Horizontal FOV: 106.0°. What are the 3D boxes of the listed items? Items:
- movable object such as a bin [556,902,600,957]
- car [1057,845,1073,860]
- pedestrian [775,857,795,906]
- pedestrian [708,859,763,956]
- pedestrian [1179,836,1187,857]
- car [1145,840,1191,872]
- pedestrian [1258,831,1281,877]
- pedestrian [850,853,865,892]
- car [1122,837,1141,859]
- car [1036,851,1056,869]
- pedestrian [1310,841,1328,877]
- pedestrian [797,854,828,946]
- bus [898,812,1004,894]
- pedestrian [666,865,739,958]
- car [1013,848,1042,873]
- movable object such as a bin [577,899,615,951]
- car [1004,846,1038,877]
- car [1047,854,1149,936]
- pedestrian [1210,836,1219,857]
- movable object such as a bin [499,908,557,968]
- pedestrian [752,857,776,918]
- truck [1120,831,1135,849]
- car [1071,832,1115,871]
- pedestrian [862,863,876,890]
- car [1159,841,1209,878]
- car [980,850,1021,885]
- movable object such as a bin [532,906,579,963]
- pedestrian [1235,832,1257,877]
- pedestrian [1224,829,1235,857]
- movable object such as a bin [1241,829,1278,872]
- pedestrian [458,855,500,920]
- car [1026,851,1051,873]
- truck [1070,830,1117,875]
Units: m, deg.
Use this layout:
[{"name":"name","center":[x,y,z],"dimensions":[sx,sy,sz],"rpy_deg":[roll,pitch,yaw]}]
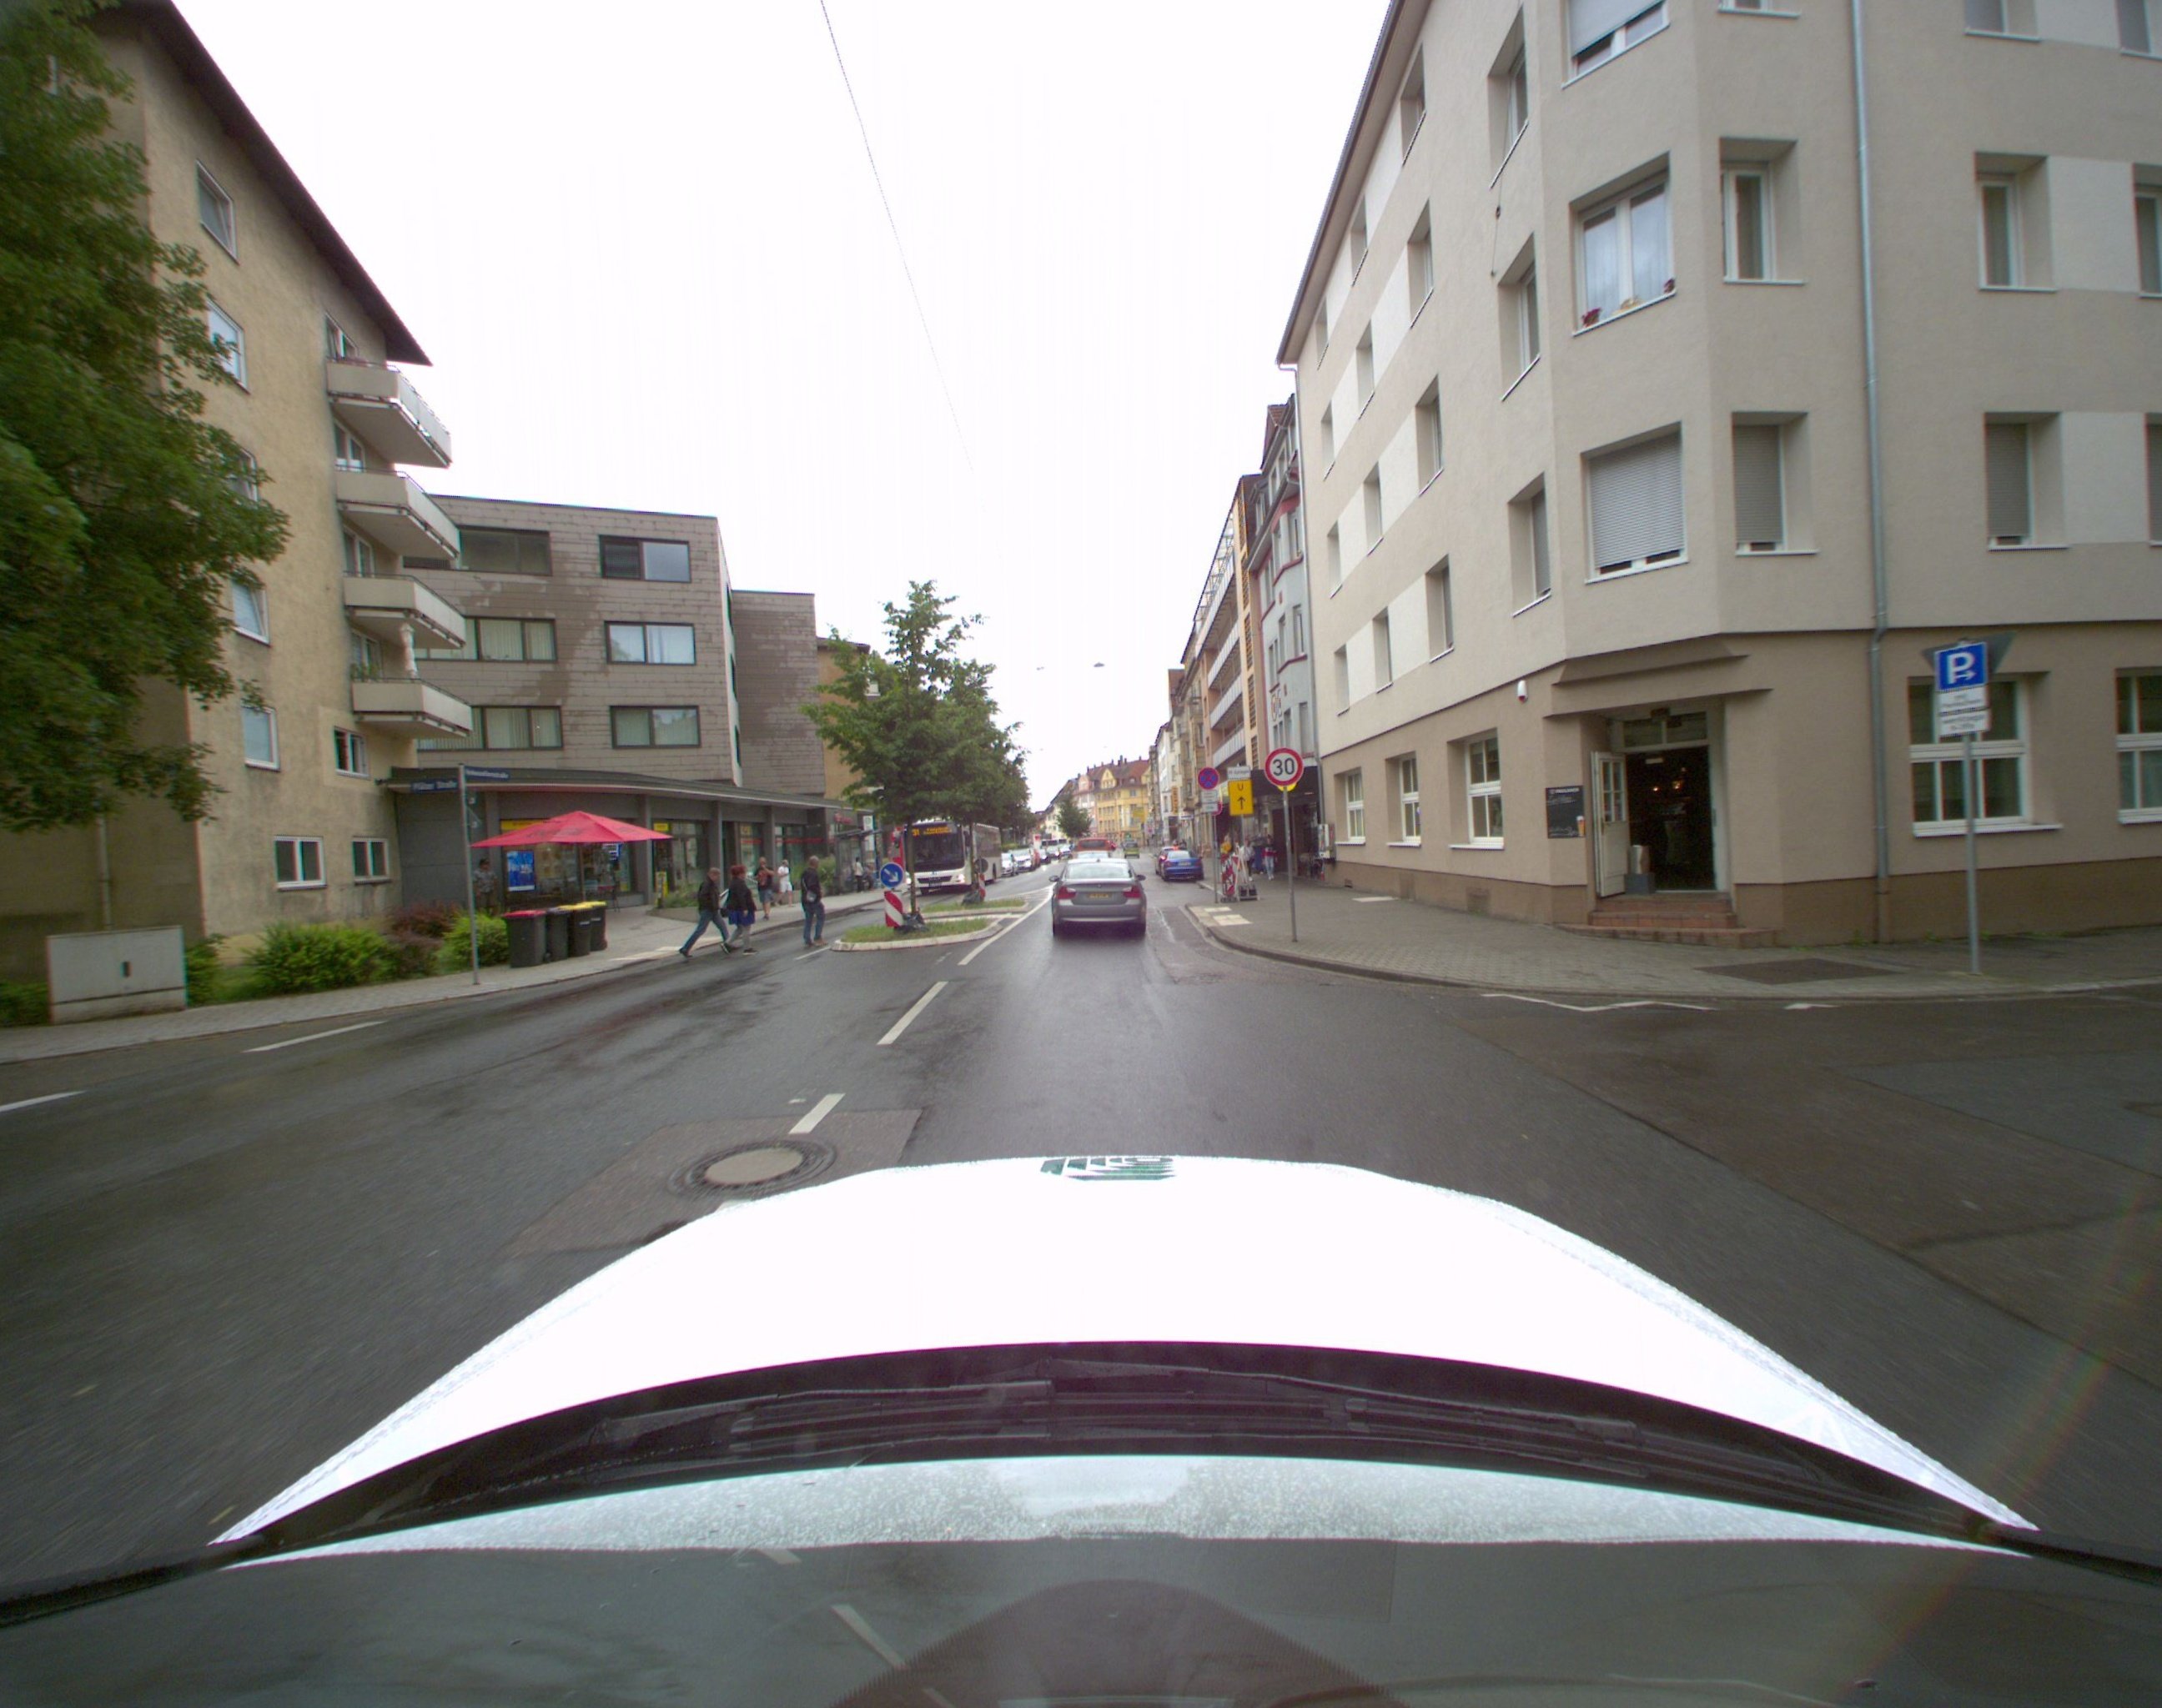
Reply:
[{"name":"movable object such as a bin","center":[-10.564,1.576,17.122],"dimensions":[0.488,1.081,0.606],"rpy_deg":[-4,-2,3]},{"name":"car","center":[-2.242,-0.170,112.918],"dimensions":[1.986,2.014,4.001],"rpy_deg":[0,-1,1]},{"name":"pedestrian","center":[-10.562,0.968,29.079],"dimensions":[0.660,1.706,0.657],"rpy_deg":[0,-2,-20]},{"name":"pedestrian","center":[-6.418,0.973,15.164],"dimensions":[0.741,1.709,0.676],"rpy_deg":[-5,0,-18]},{"name":"pedestrian","center":[7.021,-0.509,55.841],"dimensions":[0.519,1.421,0.431],"rpy_deg":[0,-2,11]},{"name":"car","center":[4.324,0.128,41.132],"dimensions":[1.986,1.519,4.001],"rpy_deg":[0,-1,1]},{"name":"pedestrian","center":[6.969,-0.001,30.108],"dimensions":[0.746,1.661,0.756],"rpy_deg":[0,-2,8]},{"name":"pedestrian","center":[-9.717,0.800,35.384],"dimensions":[0.542,1.709,0.465],"rpy_deg":[0,-2,-4]},{"name":"car","center":[4.948,-0.560,80.530],"dimensions":[1.699,2.014,3.999],"rpy_deg":[0,-1,0]},{"name":"car","center":[-3.915,0.743,92.829],"dimensions":[1.986,2.014,4.001],"rpy_deg":[0,-1,1]},{"name":"pedestrian","center":[8.090,0.170,27.673],"dimensions":[0.410,1.203,0.357],"rpy_deg":[-5,1,5]},{"name":"pedestrian","center":[-5.172,0.870,15.704],"dimensions":[0.466,1.709,0.541],"rpy_deg":[-3,0,-18]},{"name":"bus","center":[-5.863,-0.011,39.061],"dimensions":[2.671,3.200,11.960],"rpy_deg":[-3,0,2]},{"name":"pedestrian","center":[-7.426,1.103,16.020],"dimensions":[1.061,1.731,0.712],"rpy_deg":[-2,0,-8]},{"name":"car","center":[-4.319,0.568,66.312],"dimensions":[1.986,2.014,4.001],"rpy_deg":[0,-1,1]},{"name":"movable object such as a bin","center":[-10.657,1.555,17.888],"dimensions":[0.466,1.071,0.544],"rpy_deg":[-5,-2,39]},{"name":"car","center":[-4.194,0.559,57.561],"dimensions":[1.986,2.014,4.001],"rpy_deg":[-2,-1,1]},{"name":"car","center":[0.366,0.715,15.722],"dimensions":[1.749,1.362,3.167],"rpy_deg":[-1,0,2]},{"name":"pedestrian","center":[9.100,-0.528,55.455],"dimensions":[0.560,1.421,0.799],"rpy_deg":[-1,-2,15]},{"name":"movable object such as a bin","center":[-10.718,1.616,15.795],"dimensions":[0.551,1.081,0.731],"rpy_deg":[-4,-2,3]},{"name":"pedestrian","center":[-9.393,0.990,24.145],"dimensions":[0.542,1.790,0.465],"rpy_deg":[0,-2,-7]},{"name":"truck","center":[6.955,-2.103,121.816],"dimensions":[2.208,2.544,4.781],"rpy_deg":[0,-1,2]},{"name":"car","center":[0.460,-0.050,31.177],"dimensions":[1.596,1.420,3.287],"rpy_deg":[0,-1,0]},{"name":"pedestrian","center":[-9.692,1.013,37.249],"dimensions":[0.463,1.230,0.545],"rpy_deg":[0,-2,3]},{"name":"car","center":[4.475,0.271,35.816],"dimensions":[1.802,1.519,4.001],"rpy_deg":[0,-1,2]},{"name":"car","center":[-5.047,0.872,51.318],"dimensions":[1.986,2.014,4.001],"rpy_deg":[-3,-1,1]},{"name":"movable object such as a bin","center":[-10.639,1.624,16.492],"dimensions":[0.488,1.081,0.606],"rpy_deg":[-4,-2,3]},{"name":"pedestrian","center":[6.218,0.026,30.692],"dimensions":[0.744,1.661,0.839],"rpy_deg":[0,-2,9]},{"name":"pedestrian","center":[8.831,-0.644,48.589],"dimensions":[0.611,1.661,0.756],"rpy_deg":[0,-2,9]},{"name":"movable object such as a bin","center":[7.536,-0.121,34.440],"dimensions":[1.119,1.702,1.433],"rpy_deg":[-4,-1,0]},{"name":"pedestrian","center":[-17.362,0.952,23.500],"dimensions":[0.632,1.816,0.637],"rpy_deg":[-3,0,11]},{"name":"car","center":[-3.970,0.794,76.920],"dimensions":[1.986,2.014,4.001],"rpy_deg":[0,-1,1]},{"name":"truck","center":[0.633,-0.048,41.115],"dimensions":[2.208,2.117,4.651],"rpy_deg":[1,-1,0]}]
